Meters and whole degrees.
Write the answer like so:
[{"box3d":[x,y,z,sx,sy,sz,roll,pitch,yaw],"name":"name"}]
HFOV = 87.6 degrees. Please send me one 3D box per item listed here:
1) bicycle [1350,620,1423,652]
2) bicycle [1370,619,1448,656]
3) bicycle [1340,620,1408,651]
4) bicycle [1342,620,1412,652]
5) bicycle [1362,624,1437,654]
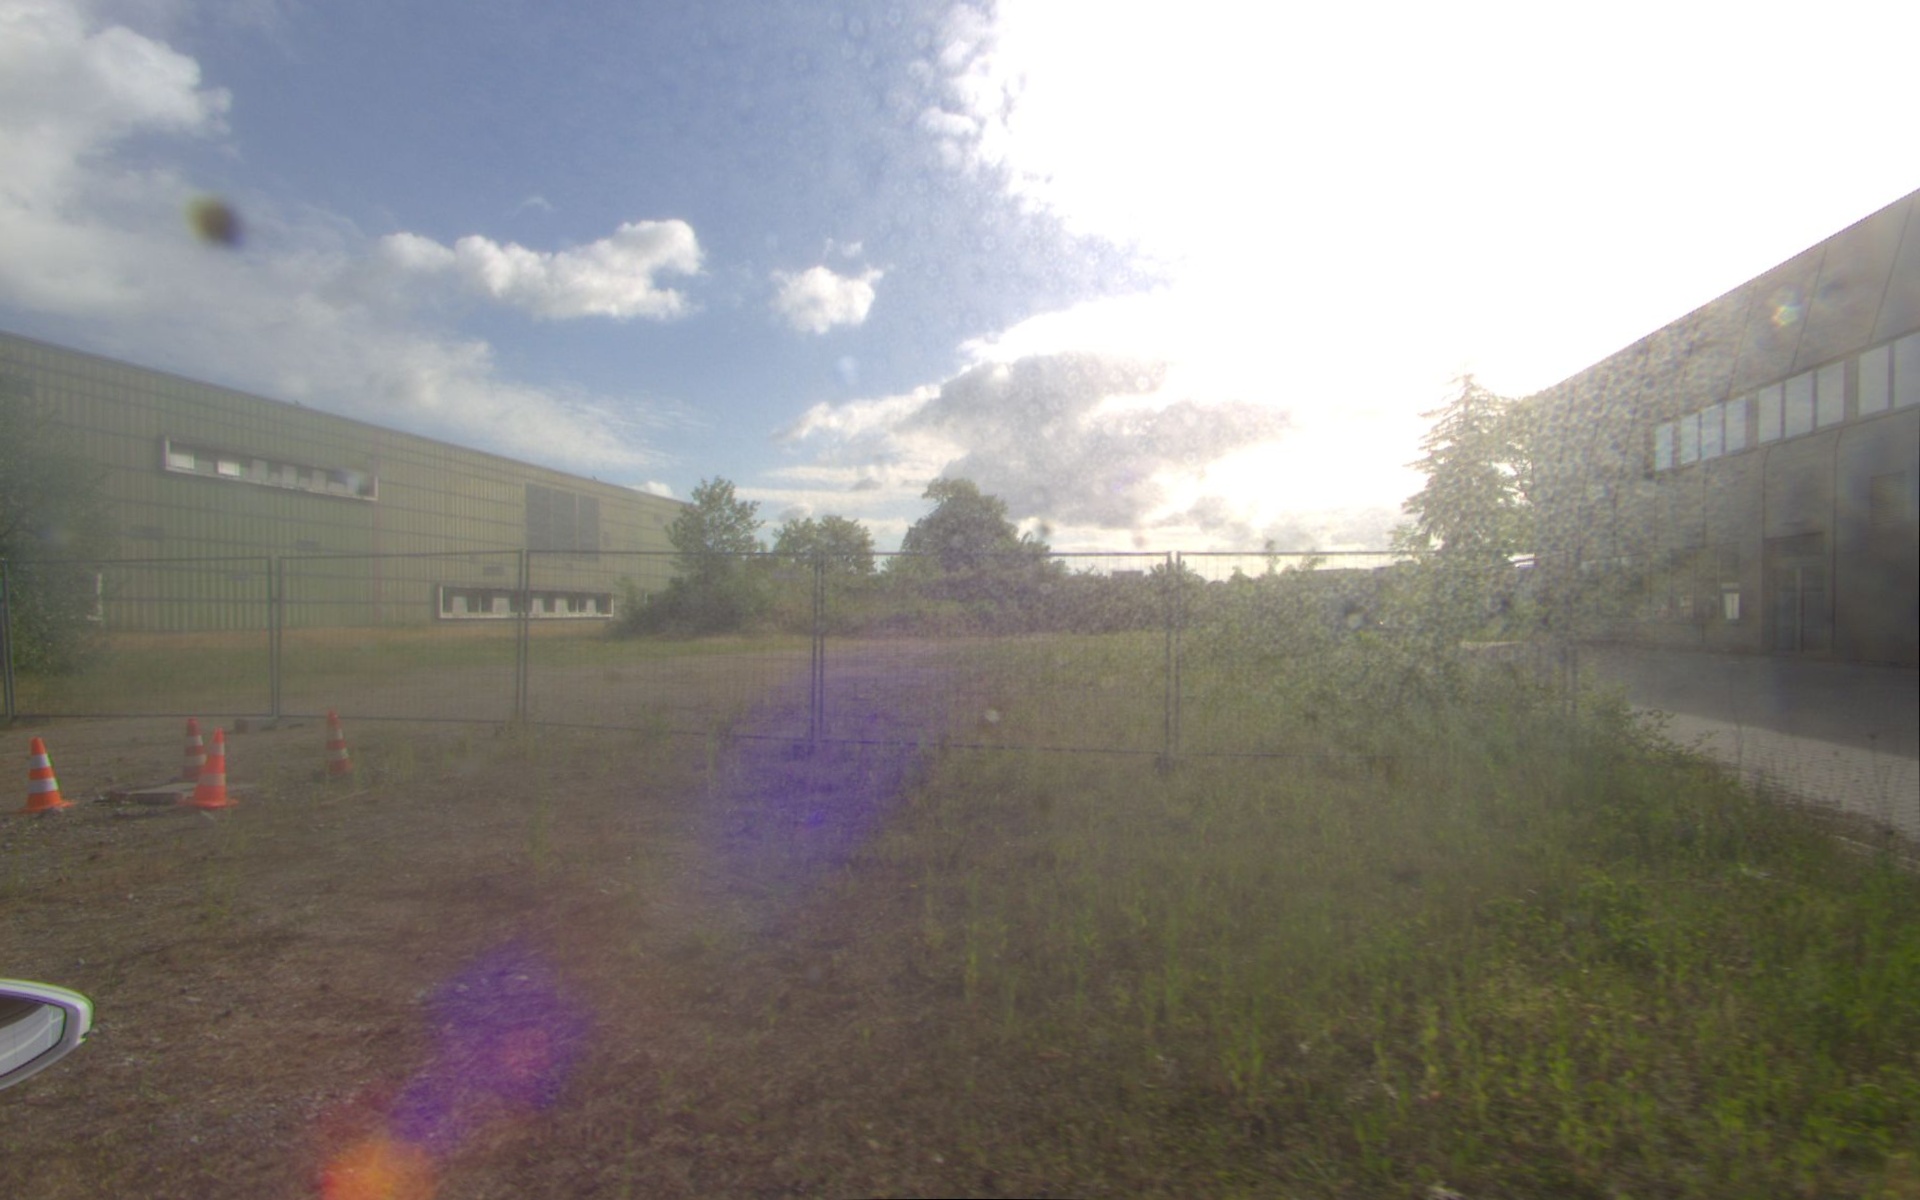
[{"box3d":[14.133,1.186,33.240,2.029,1.058,0.946,0,0,8],"name":"bicycle"},{"box3d":[13.869,1.144,30.993,2.029,1.101,0.946,0,0,8],"name":"bicycle"},{"box3d":[14.580,1.249,35.330,2.029,1.058,0.946,0,0,8],"name":"bicycle"},{"box3d":[14.297,1.220,34.349,2.029,1.058,0.946,0,0,8],"name":"bicycle"},{"box3d":[14.125,1.241,32.221,2.029,0.933,0.946,0,0,8],"name":"bicycle"}]
